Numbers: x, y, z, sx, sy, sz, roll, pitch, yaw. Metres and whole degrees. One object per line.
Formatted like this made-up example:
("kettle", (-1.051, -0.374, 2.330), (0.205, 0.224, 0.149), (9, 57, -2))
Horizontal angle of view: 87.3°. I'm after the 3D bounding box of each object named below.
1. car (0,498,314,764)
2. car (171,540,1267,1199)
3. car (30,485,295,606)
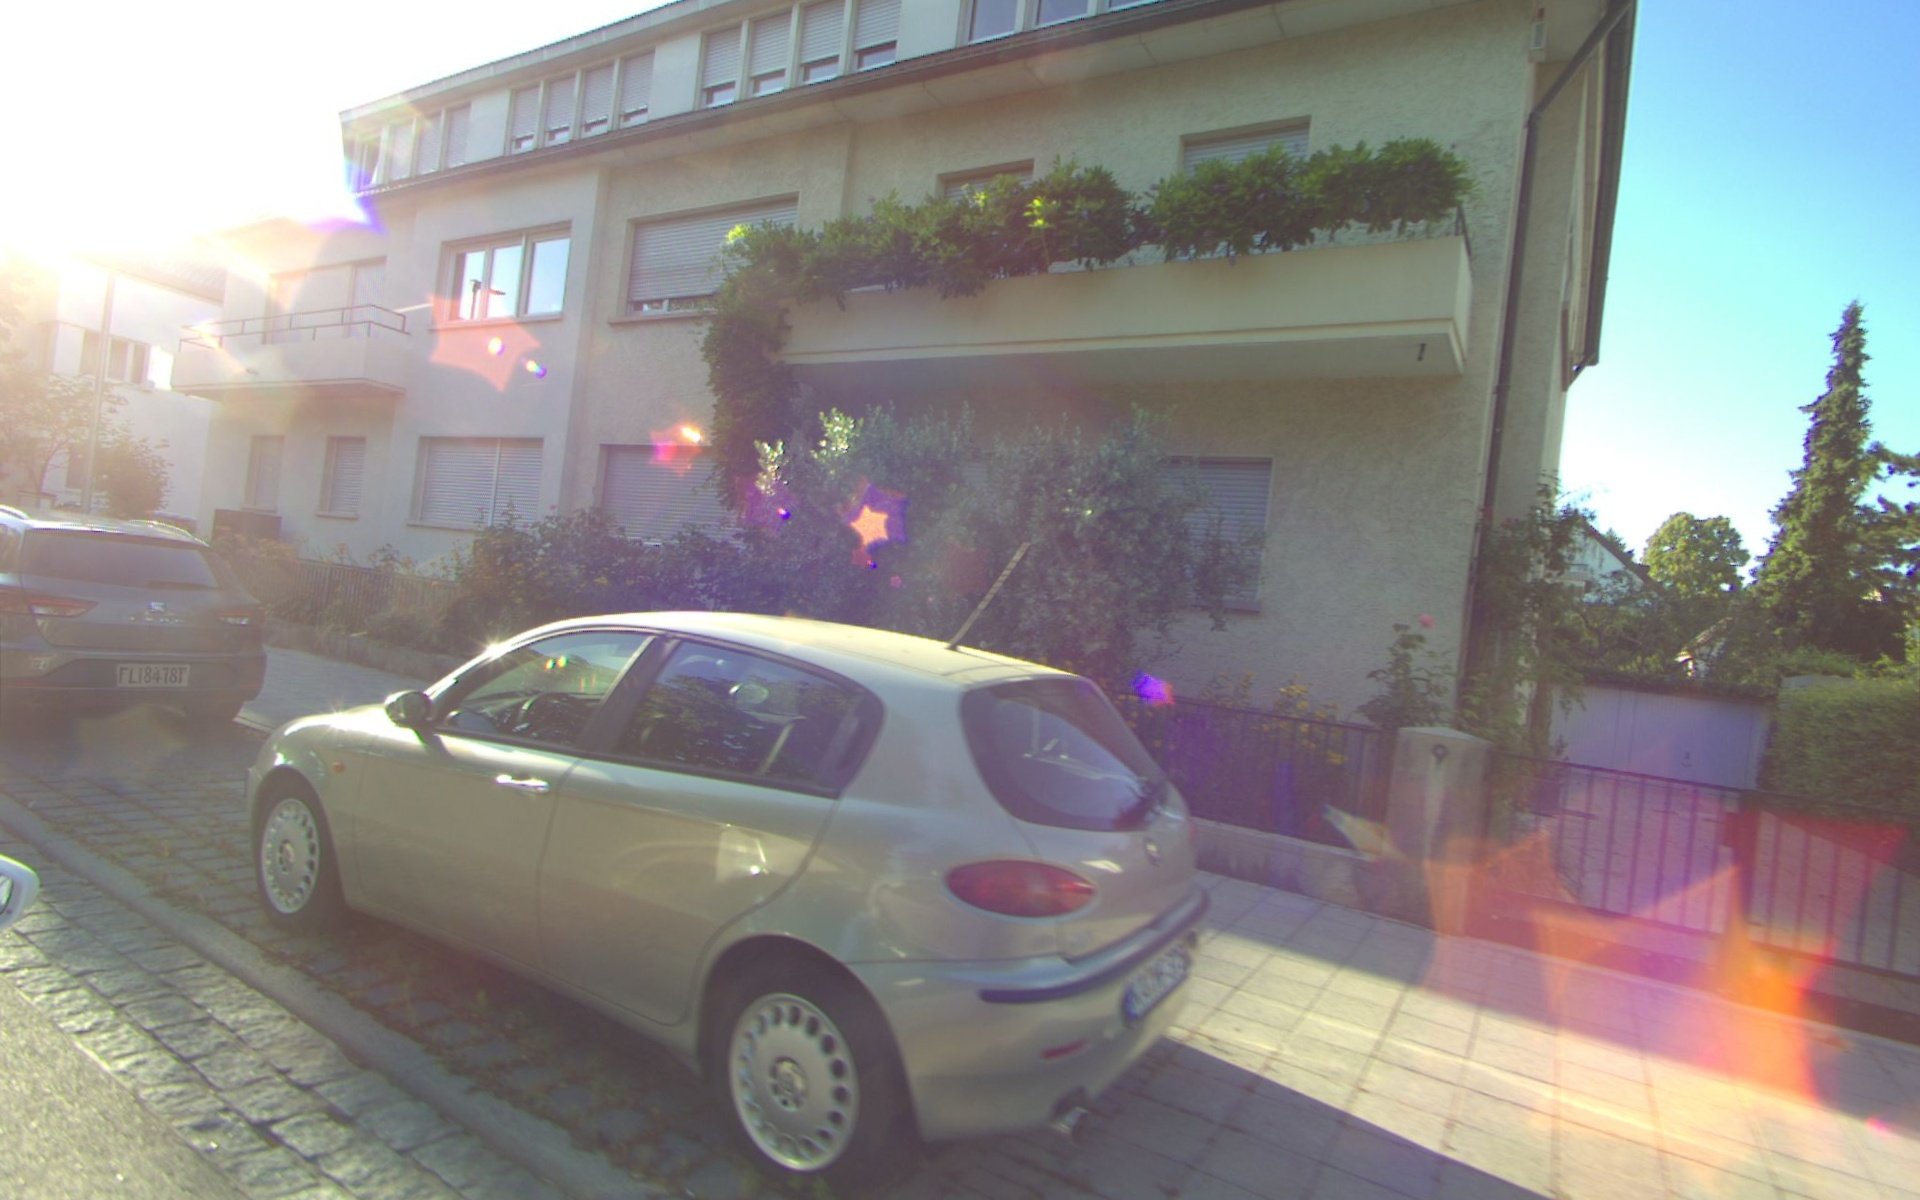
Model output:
("car", (-6.900, 0.042, 7.543), (4.124, 1.513, 1.795), (6, 1, 32))
("car", (-1.116, 0.682, 3.943), (4.011, 1.398, 1.795), (6, 1, 32))
("car", (-17.264, -1.111, 22.006), (1.783, 1.865, 3.997), (8, -2, 26))
